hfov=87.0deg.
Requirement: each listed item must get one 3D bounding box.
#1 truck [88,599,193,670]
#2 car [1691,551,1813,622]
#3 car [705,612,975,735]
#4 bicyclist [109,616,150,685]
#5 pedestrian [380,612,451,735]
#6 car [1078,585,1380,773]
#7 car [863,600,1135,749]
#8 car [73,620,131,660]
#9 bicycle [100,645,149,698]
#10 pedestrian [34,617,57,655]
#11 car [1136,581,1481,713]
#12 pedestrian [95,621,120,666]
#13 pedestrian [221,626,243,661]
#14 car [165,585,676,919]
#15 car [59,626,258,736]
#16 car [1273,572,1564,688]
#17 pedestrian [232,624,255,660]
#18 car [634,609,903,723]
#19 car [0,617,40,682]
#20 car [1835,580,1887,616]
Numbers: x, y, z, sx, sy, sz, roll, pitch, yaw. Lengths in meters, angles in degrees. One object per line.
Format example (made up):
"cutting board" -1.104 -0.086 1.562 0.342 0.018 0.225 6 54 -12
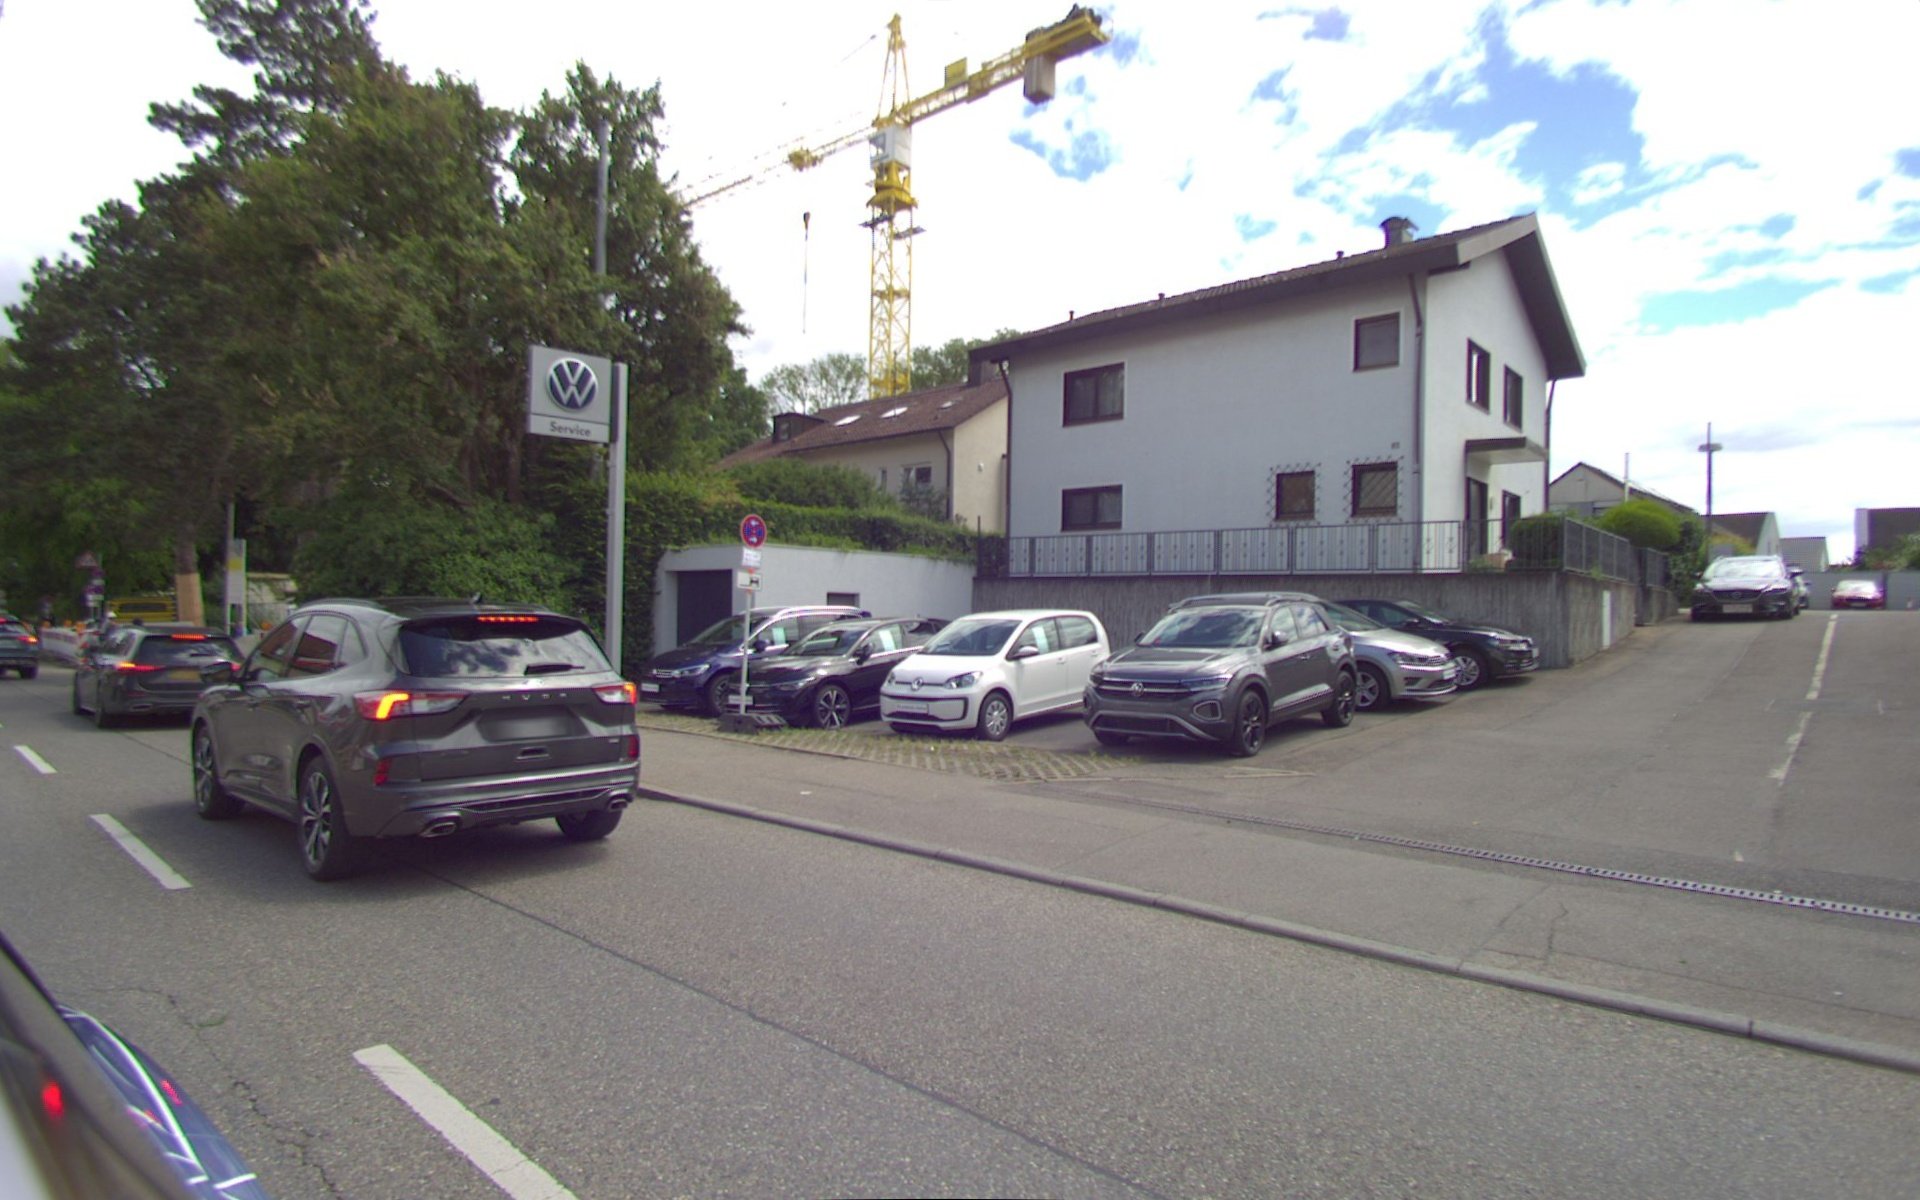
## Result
"truck" -30.379 1.173 37.443 6.095 2.438 2.280 0 0 44
"car" 18.194 -0.328 23.188 1.858 1.454 3.750 -3 0 43
"car" -1.622 0.975 14.598 1.728 1.530 3.701 -2 -2 40
"bicyclist" -18.046 1.085 21.985 0.864 1.460 0.464 -1 -4 39
"pedestrian" -8.072 1.054 14.993 0.868 1.750 0.675 0 0 42
"car" 3.113 0.702 11.161 1.653 1.643 3.972 -2 0 40
"car" 0.628 0.838 13.130 1.534 1.572 3.701 -2 0 40
"car" -34.611 1.570 40.785 1.604 1.519 3.586 0 -1 -43
"bicycle" -18.291 1.549 22.149 1.868 1.095 0.449 -1 -3 40
"pedestrian" -45.216 1.768 50.039 0.824 1.861 1.022 0 0 -45
"car" 4.903 0.645 14.634 4.326 1.597 1.787 -3 0 42
"pedestrian" -30.076 1.537 35.699 0.654 1.559 0.568 0 0 37
"pedestrian" -29.116 1.727 40.482 0.566 1.396 0.540 0 0 -11
"car" -3.990 0.815 7.135 4.320 1.642 1.811 -2 -2 42
"car" -12.466 1.147 15.627 4.524 1.440 1.721 -1 -3 43
"car" 7.181 0.470 16.047 3.803 1.597 1.787 -3 0 42
"pedestrian" -28.288 1.659 39.980 0.566 1.396 0.540 0 0 -11
"car" -3.162 1.024 17.338 1.903 1.653 4.243 -2 -1 43
"car" -26.188 1.285 26.611 4.521 1.630 1.851 -1 -3 33
"car" 40.234 -0.110 45.162 1.612 1.454 3.750 -3 0 43
